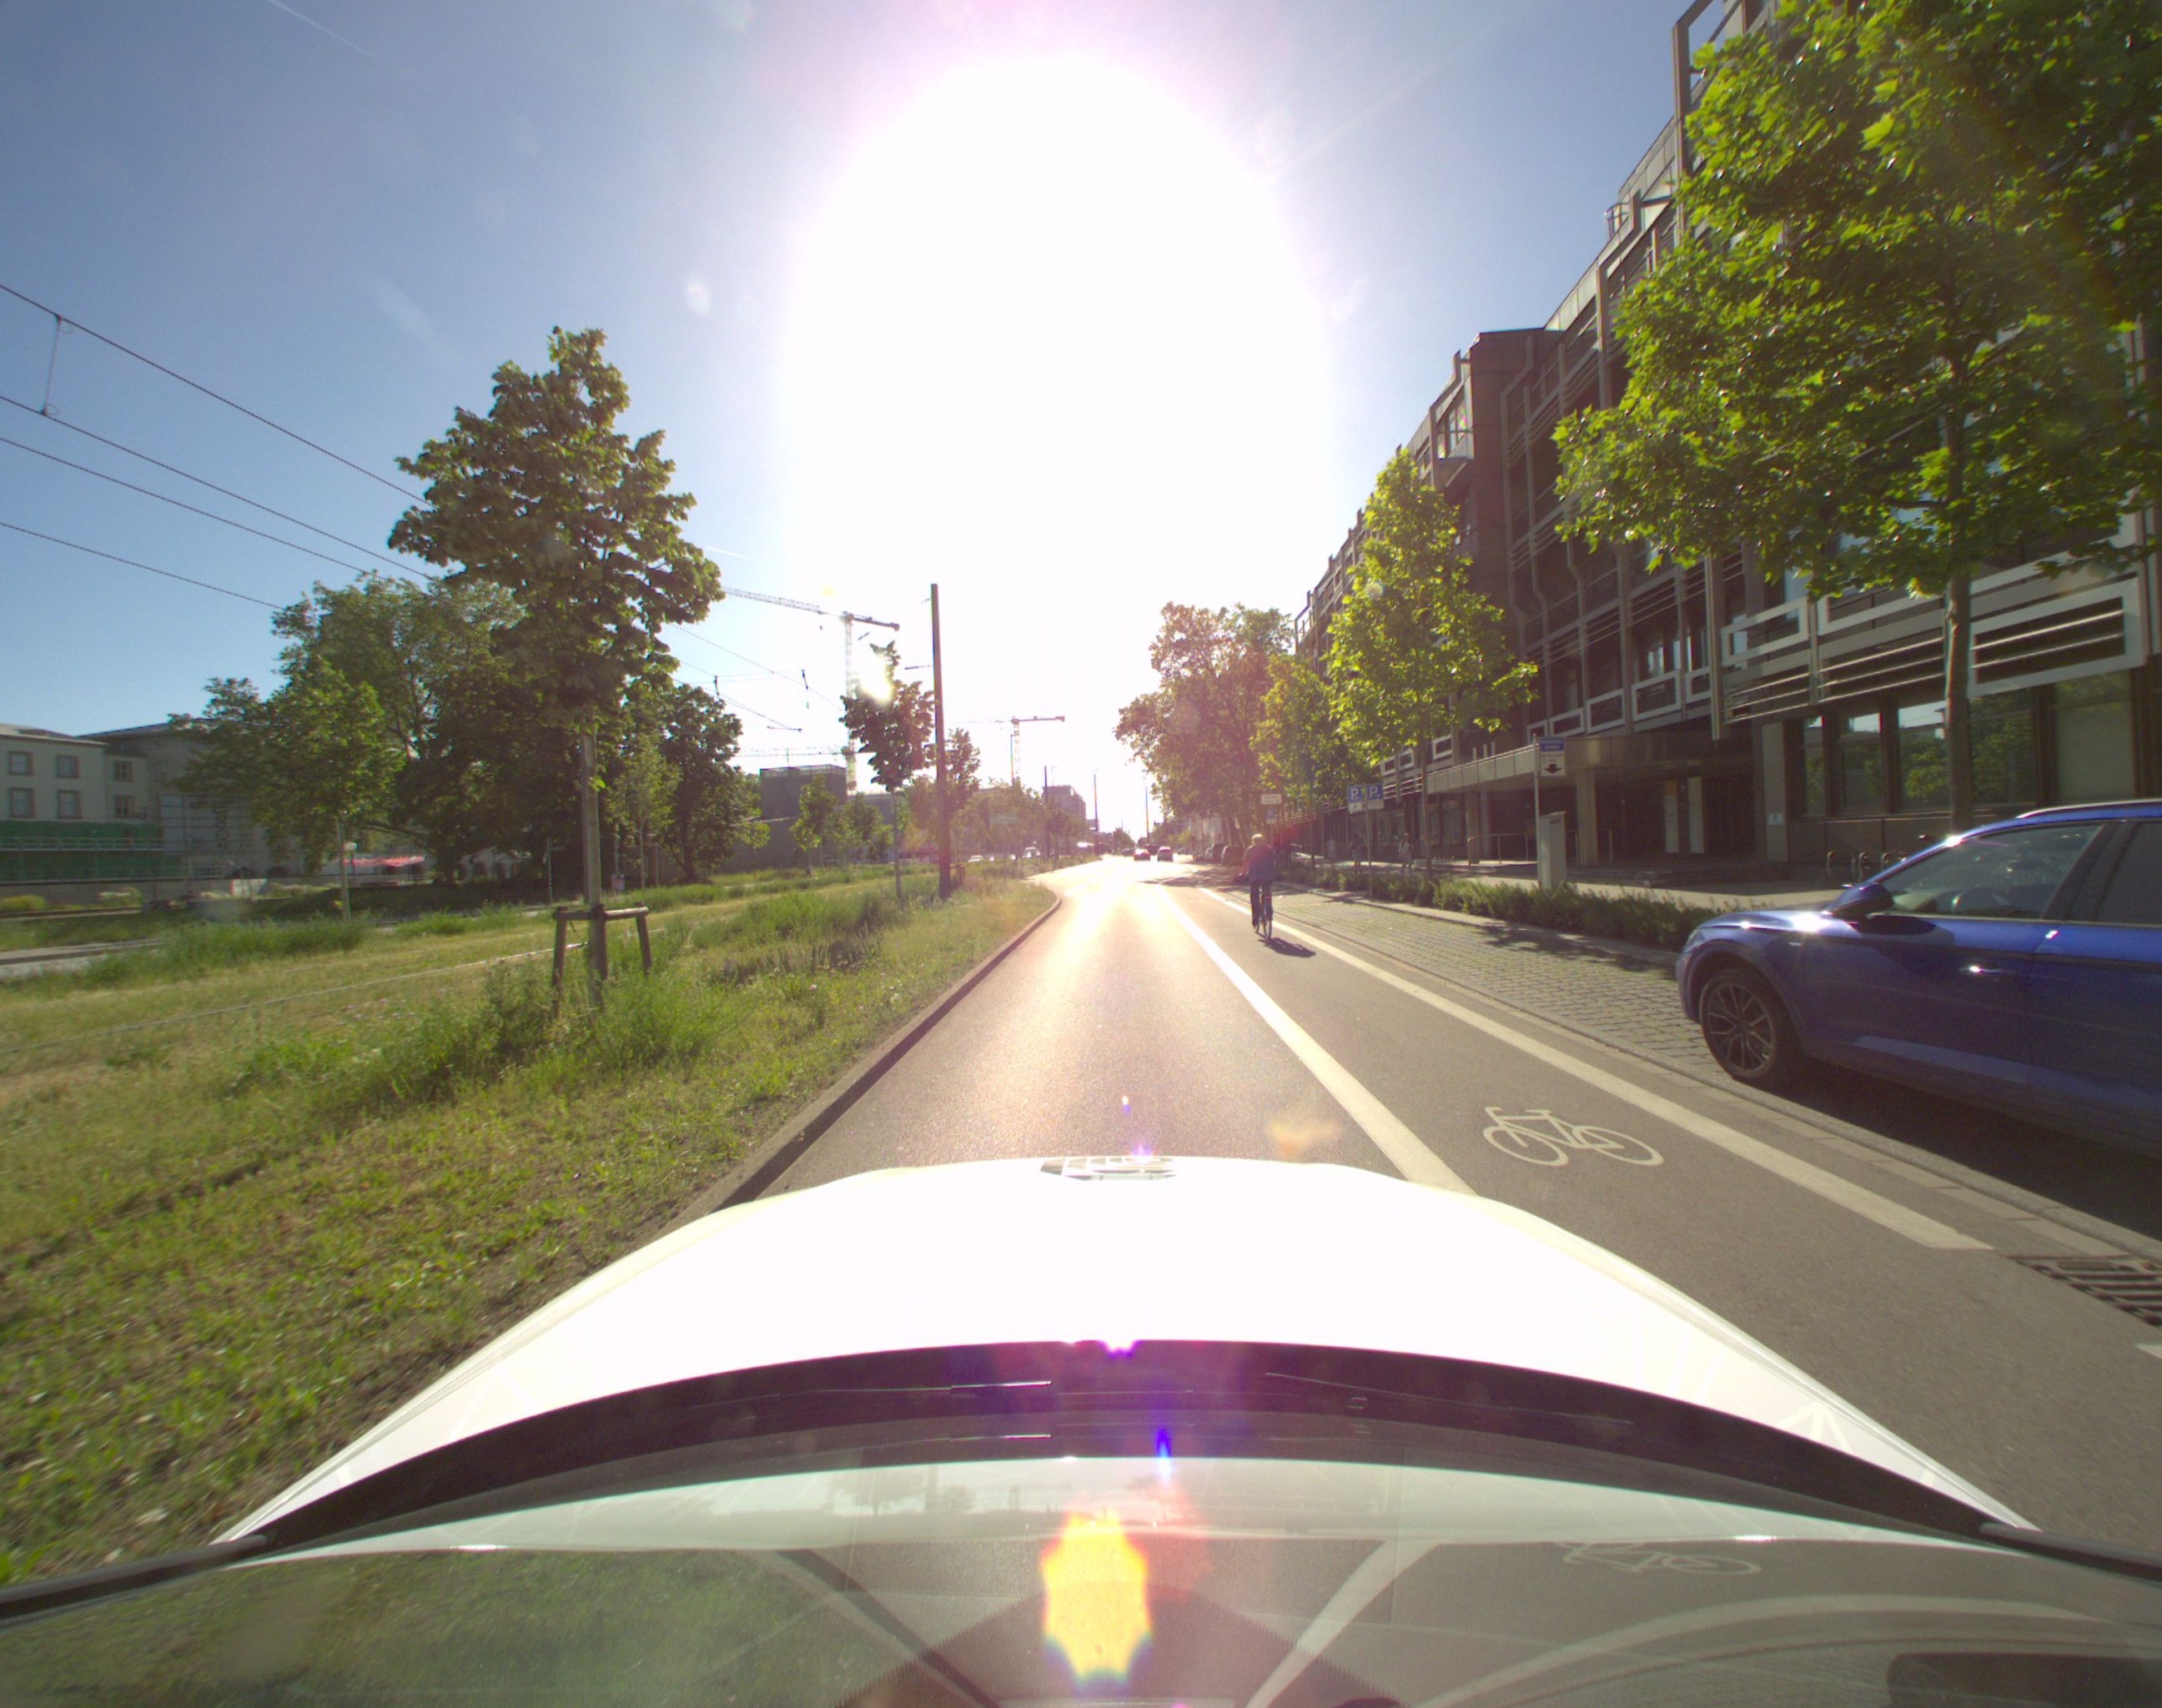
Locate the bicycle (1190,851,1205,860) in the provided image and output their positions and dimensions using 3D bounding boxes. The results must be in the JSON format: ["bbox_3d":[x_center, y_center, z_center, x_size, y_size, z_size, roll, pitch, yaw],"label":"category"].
[{"bbox_3d":[14.204,0.174,99.169,1.687,0.957,0.478,-4,0,0],"label":"bicycle"}]

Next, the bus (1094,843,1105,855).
[{"bbox_3d":[4.834,-1.265,212.571,2.617,2.959,9.905,0,-1,3],"label":"bus"}]

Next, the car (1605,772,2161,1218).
[{"bbox_3d":[4.929,0.463,3.865,1.842,1.657,4.851,-4,0,2],"label":"car"}]

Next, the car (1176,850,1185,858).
[{"bbox_3d":[20.044,0.029,163.847,1.655,1.649,3.704,0,-1,3],"label":"car"}]

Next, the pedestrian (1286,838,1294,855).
[{"bbox_3d":[20.019,-0.675,78.025,0.550,1.603,0.574,-2,0,5],"label":"pedestrian"}]

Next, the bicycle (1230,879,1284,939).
[{"bbox_3d":[3.068,0.928,14.359,0.496,0.906,2.197,0,0,1],"label":"bicycle"}]

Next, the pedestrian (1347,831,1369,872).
[{"bbox_3d":[11.814,-0.120,34.763,0.644,1.728,0.804,-2,0,4],"label":"pedestrian"}]

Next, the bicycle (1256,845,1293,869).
[{"bbox_3d":[11.461,0.159,48.244,1.929,1.236,0.579,-5,0,2],"label":"bicycle"}]

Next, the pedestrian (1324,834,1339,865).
[{"bbox_3d":[13.978,-0.262,45.472,0.508,1.700,0.775,-4,0,4],"label":"pedestrian"}]

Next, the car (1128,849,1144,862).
[{"bbox_3d":[7.046,0.150,103.693,1.903,1.486,4.014,-2,0,4],"label":"car"}]

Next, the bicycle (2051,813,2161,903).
[{"bbox_3d":[12.306,0.010,9.250,1.848,0.939,0.427,-4,0,6],"label":"bicycle"}]

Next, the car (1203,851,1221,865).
[{"bbox_3d":[14.579,0.424,90.759,1.696,1.492,4.607,-2,0,5],"label":"car"}]

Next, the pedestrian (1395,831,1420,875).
[{"bbox_3d":[11.325,-0.035,28.276,0.508,1.474,0.737,-4,0,4],"label":"pedestrian"}]

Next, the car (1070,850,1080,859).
[{"bbox_3d":[-1.130,0.057,164.401,1.889,1.816,4.002,0,-1,2],"label":"car"}]

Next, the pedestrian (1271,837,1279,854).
[{"bbox_3d":[18.588,-0.843,77.991,0.504,1.584,0.634,-2,0,-4],"label":"pedestrian"}]

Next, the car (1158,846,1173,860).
[{"bbox_3d":[10.348,-0.084,99.821,1.712,1.618,4.194,-2,0,7],"label":"car"}]

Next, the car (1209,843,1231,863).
[{"bbox_3d":[13.289,-0.110,78.197,1.696,1.790,4.199,-4,0,5],"label":"car"}]

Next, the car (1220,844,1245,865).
[{"bbox_3d":[12.397,0.033,66.947,1.695,1.643,4.645,-2,0,7],"label":"car"}]

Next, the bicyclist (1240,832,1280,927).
[{"bbox_3d":[3.082,0.428,14.064,0.511,1.601,0.536,-2,0,0],"label":"bicyclist"}]

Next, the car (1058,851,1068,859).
[{"bbox_3d":[-2.940,0.159,135.800,1.370,1.178,3.224,0,-1,5],"label":"car"}]

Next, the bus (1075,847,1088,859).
[{"bbox_3d":[0.170,-0.180,195.704,2.617,2.783,8.850,0,-1,3],"label":"bus"}]
